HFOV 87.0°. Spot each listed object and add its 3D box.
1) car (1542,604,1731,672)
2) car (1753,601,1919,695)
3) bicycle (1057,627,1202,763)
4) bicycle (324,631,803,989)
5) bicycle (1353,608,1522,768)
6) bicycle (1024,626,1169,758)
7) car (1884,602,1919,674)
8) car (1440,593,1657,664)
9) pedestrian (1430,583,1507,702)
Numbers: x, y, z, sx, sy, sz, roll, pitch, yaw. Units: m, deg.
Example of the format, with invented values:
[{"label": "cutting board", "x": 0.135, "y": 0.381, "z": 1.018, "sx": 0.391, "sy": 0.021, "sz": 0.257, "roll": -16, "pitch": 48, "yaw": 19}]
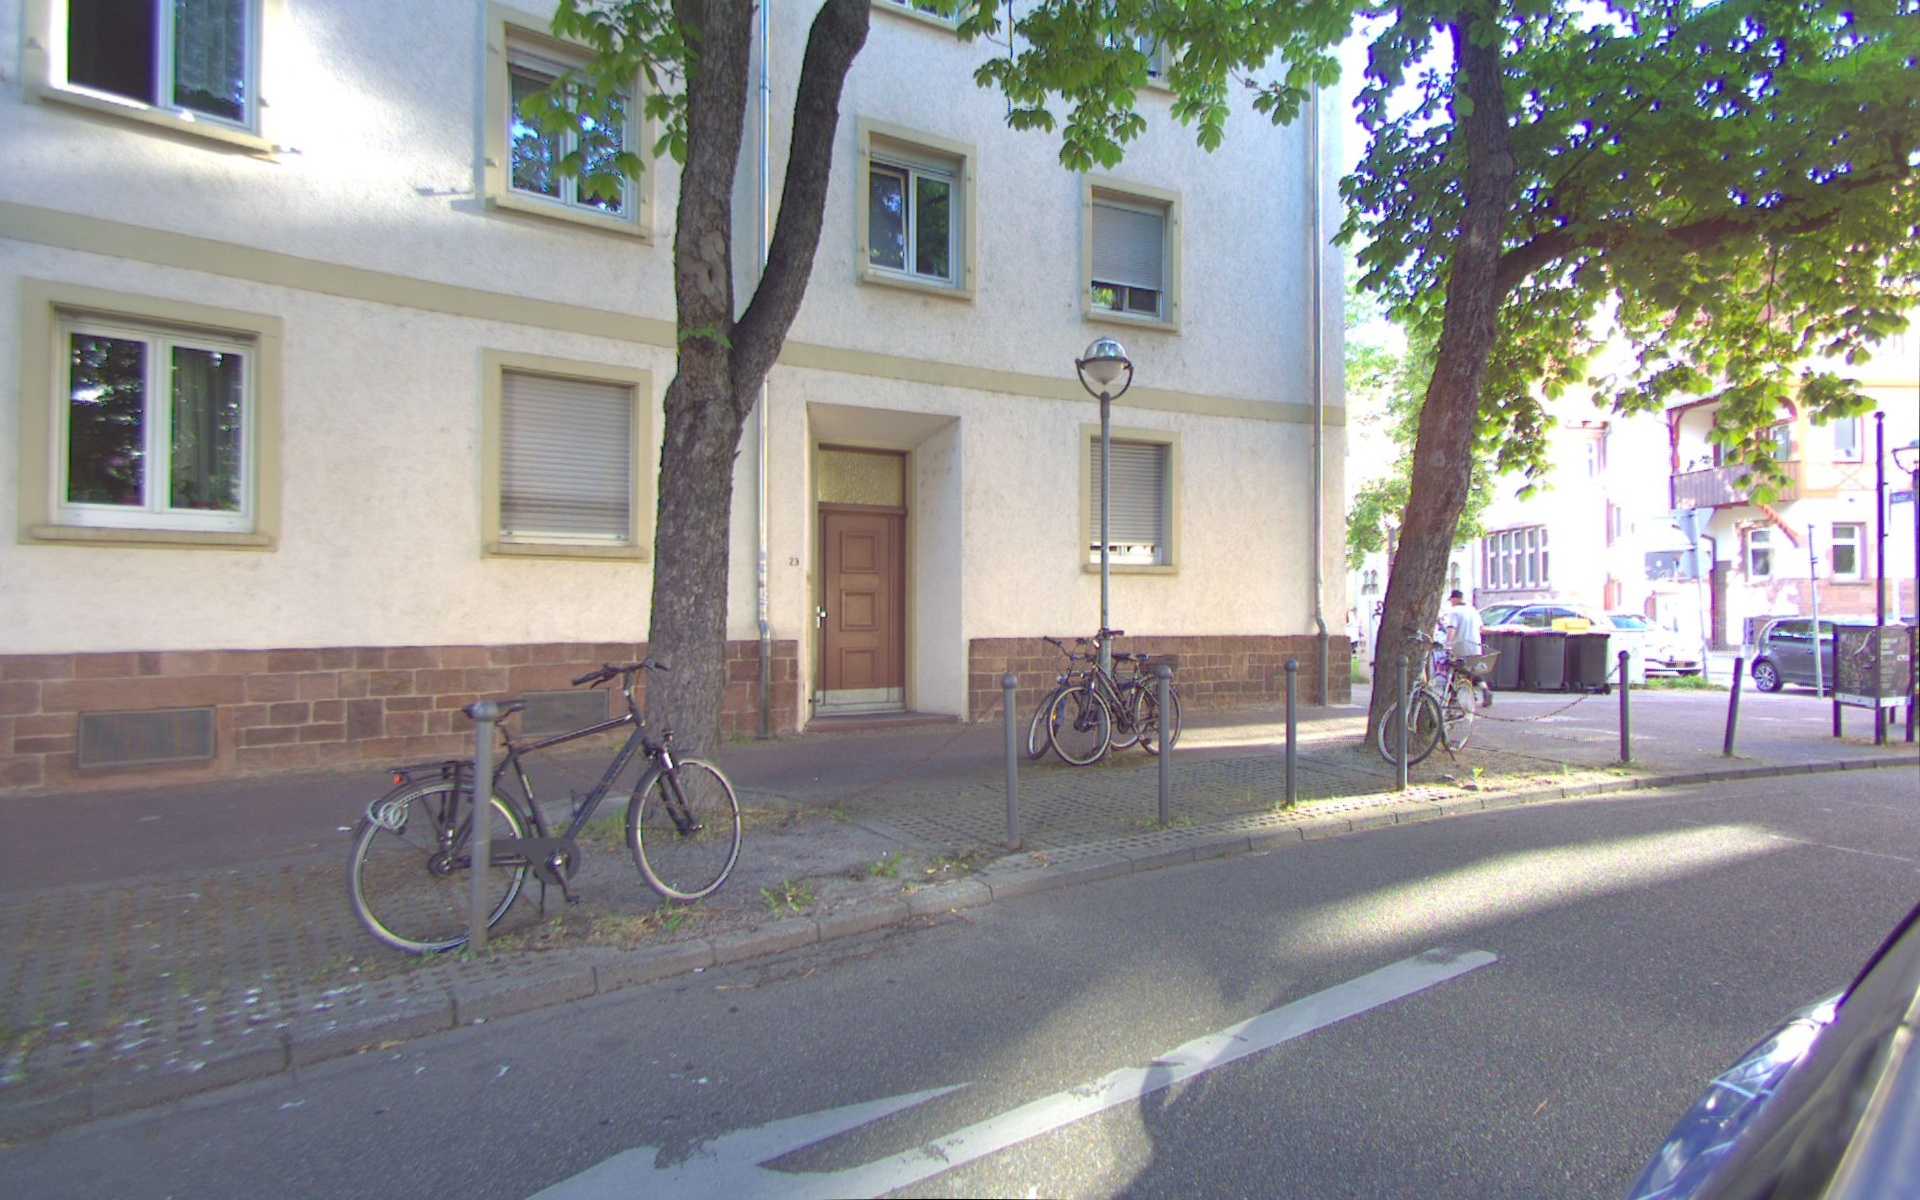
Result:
[{"label": "car", "x": 16.865, "y": 0.905, "z": 25.520, "sx": 1.771, "sy": 1.572, "sz": 4.187, "roll": 0, "pitch": -1, "yaw": -3}, {"label": "car", "x": 16.853, "y": 0.826, "z": 18.321, "sx": 1.663, "sy": 1.572, "sz": 4.053, "roll": 0, "pitch": -1, "yaw": -3}, {"label": "bicycle", "x": 1.553, "y": 0.812, "z": 9.105, "sx": 1.607, "sy": 1.108, "sz": 0.334, "roll": 0, "pitch": -1, "yaw": -41}, {"label": "bicycle", "x": -1.693, "y": 0.783, "z": 4.558, "sx": 1.882, "sy": 1.238, "sz": 0.718, "roll": 0, "pitch": -1, "yaw": -43}, {"label": "bicycle", "x": 4.418, "y": 0.733, "z": 9.296, "sx": 1.871, "sy": 1.321, "sz": 0.766, "roll": 0, "pitch": -1, "yaw": -43}, {"label": "bicycle", "x": 1.286, "y": 0.809, "z": 9.344, "sx": 1.607, "sy": 1.108, "sz": 0.334, "roll": 0, "pitch": -1, "yaw": -41}, {"label": "car", "x": 21.627, "y": 0.829, "z": 21.211, "sx": 1.463, "sy": 1.559, "sz": 3.217, "roll": 1, "pitch": 0, "yaw": -3}, {"label": "car", "x": 12.632, "y": 0.591, "z": 21.856, "sx": 3.728, "sy": 1.443, "sz": 1.677, "roll": 0, "pitch": -1, "yaw": -5}, {"label": "pedestrian", "x": 7.155, "y": 0.572, "z": 14.270, "sx": 0.631, "sy": 1.612, "sz": 0.944, "roll": 1, "pitch": 0, "yaw": 3}]
